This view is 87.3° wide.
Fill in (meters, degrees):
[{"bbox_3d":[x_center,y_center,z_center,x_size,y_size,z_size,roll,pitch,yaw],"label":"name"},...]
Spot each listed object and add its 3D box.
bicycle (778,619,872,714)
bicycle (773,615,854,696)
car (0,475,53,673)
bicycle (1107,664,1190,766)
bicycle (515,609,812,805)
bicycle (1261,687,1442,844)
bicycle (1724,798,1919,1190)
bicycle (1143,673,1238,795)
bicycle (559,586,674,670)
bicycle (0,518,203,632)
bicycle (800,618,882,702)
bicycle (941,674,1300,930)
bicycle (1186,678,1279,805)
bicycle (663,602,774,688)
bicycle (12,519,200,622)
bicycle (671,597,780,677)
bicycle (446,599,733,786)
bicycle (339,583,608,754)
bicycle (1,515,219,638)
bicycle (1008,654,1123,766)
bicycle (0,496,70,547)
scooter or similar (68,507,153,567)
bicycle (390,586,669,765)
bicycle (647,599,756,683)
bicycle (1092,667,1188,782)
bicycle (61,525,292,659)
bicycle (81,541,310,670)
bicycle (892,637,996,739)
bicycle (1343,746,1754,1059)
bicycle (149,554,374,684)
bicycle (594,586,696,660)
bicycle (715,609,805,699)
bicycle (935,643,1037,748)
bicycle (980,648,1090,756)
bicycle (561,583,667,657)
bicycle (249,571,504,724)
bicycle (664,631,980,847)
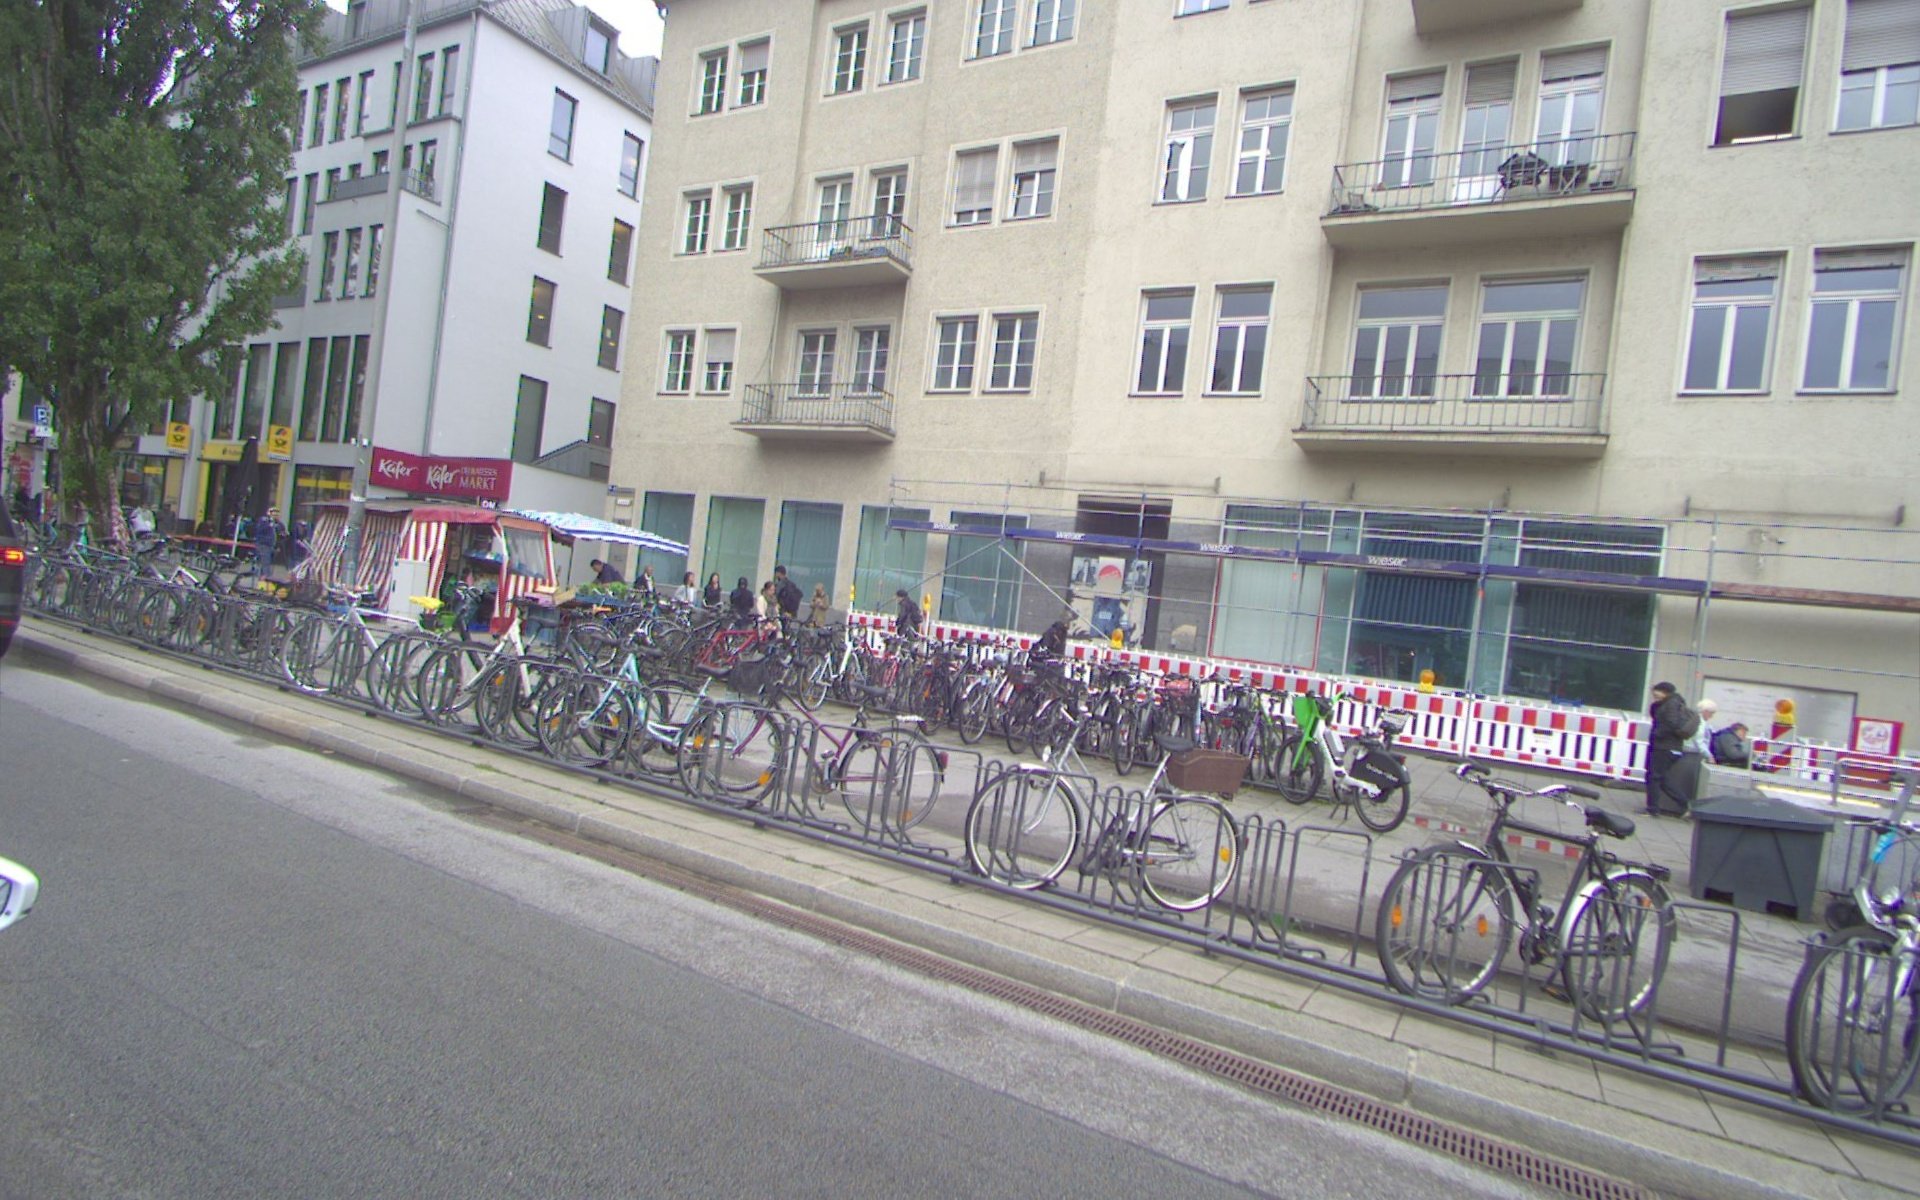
[{"bbox_3d":[-1.679,0.824,12.700,0.403,1.091,1.452,7,1,22],"label":"bicycle"},{"bbox_3d":[-2.120,0.800,14.741,0.403,1.091,1.452,7,1,22],"label":"bicycle"},{"bbox_3d":[-10.015,-0.479,8.867,4.113,1.633,1.764,7,-1,31],"label":"car"},{"bbox_3d":[2.266,1.338,11.991,0.403,1.091,1.528,7,1,29],"label":"bicycle"},{"bbox_3d":[-2.067,0.765,7.159,1.825,1.070,0.396,11,-2,-15],"label":"bicycle"},{"bbox_3d":[3.527,1.464,9.237,0.404,1.091,1.754,6,1,-19],"label":"bicycle"},{"bbox_3d":[3.859,1.447,3.876,1.773,1.150,0.587,8,-1,-24],"label":"bicycle"},{"bbox_3d":[2.379,1.322,10.270,0.403,1.091,1.603,7,1,29],"label":"bicycle"},{"bbox_3d":[-4.981,0.423,14.642,1.465,1.091,0.405,6,1,-44],"label":"bicycle"},{"bbox_3d":[-10.648,-0.292,12.530,1.779,1.065,0.365,11,-2,-22],"label":"bicycle"},{"bbox_3d":[-1.664,0.843,14.294,0.403,1.091,1.452,7,1,22],"label":"bicycle"},{"bbox_3d":[0.872,1.098,5.461,1.768,1.150,0.488,8,-1,-16],"label":"bicycle"},{"bbox_3d":[2.737,1.358,10.003,0.403,1.091,1.653,7,1,29],"label":"bicycle"},{"bbox_3d":[-3.279,0.633,13.746,0.404,1.091,1.447,7,1,38],"label":"bicycle"},{"bbox_3d":[-11.806,-0.391,13.970,1.779,1.065,0.544,11,-2,-21],"label":"bicycle"},{"bbox_3d":[-3.578,0.584,15.437,0.404,1.117,1.627,7,1,39],"label":"bicycle"},{"bbox_3d":[-2.710,0.694,7.524,1.825,1.070,0.396,11,-2,-15],"label":"bicycle"},{"bbox_3d":[-3.908,0.566,8.194,1.775,1.070,0.396,11,-2,-14],"label":"bicycle"},{"bbox_3d":[-10.180,-0.267,12.121,1.779,1.117,0.544,11,-2,-21],"label":"bicycle"},{"bbox_3d":[1.182,1.171,10.977,0.404,1.091,1.634,7,1,35],"label":"bicycle"},{"bbox_3d":[-25.444,-2.148,27.419,0.696,1.174,1.625,7,0,44],"label":"bicycle"},{"bbox_3d":[-19.564,-1.430,23.209,0.393,1.222,1.470,7,0,13],"label":"scooter or similar"},{"bbox_3d":[-3.311,0.597,7.879,1.825,1.070,0.396,11,-2,-15],"label":"bicycle"},{"bbox_3d":[-3.600,0.590,14.117,0.404,1.091,1.478,7,1,35],"label":"bicycle"},{"bbox_3d":[1.958,1.286,10.782,0.403,1.091,1.623,7,1,29],"label":"bicycle"},{"bbox_3d":[-8.552,-0.070,11.067,1.779,1.117,0.544,11,-2,-21],"label":"bicycle"},{"bbox_3d":[-8.048,0.070,10.655,1.777,1.021,0.385,11,-2,-17],"label":"bicycle"},{"bbox_3d":[-0.158,1.017,11.879,0.403,1.091,1.537,7,1,29],"label":"bicycle"},{"bbox_3d":[2.637,1.332,4.471,1.772,1.150,0.487,8,-1,-22],"label":"bicycle"},{"bbox_3d":[-7.240,0.208,10.498,1.775,1.021,0.385,11,-2,-14],"label":"bicycle"},{"bbox_3d":[-5.134,0.396,16.471,0.403,1.117,1.630,7,1,32],"label":"bicycle"},{"bbox_3d":[-2.634,0.703,13.387,0.402,1.091,1.453,7,1,18],"label":"bicycle"},{"bbox_3d":[0.328,1.069,11.566,0.403,1.091,1.526,7,1,29],"label":"bicycle"},{"bbox_3d":[0.881,1.125,11.344,0.403,1.091,1.658,7,1,32],"label":"bicycle"},{"bbox_3d":[-5.685,0.352,16.613,0.404,1.117,1.628,7,1,35],"label":"bicycle"},{"bbox_3d":[-5.098,0.428,8.881,1.775,1.021,0.385,11,-2,-14],"label":"bicycle"},{"bbox_3d":[-0.874,0.899,6.489,1.825,1.070,0.396,11,-2,-15],"label":"bicycle"}]
